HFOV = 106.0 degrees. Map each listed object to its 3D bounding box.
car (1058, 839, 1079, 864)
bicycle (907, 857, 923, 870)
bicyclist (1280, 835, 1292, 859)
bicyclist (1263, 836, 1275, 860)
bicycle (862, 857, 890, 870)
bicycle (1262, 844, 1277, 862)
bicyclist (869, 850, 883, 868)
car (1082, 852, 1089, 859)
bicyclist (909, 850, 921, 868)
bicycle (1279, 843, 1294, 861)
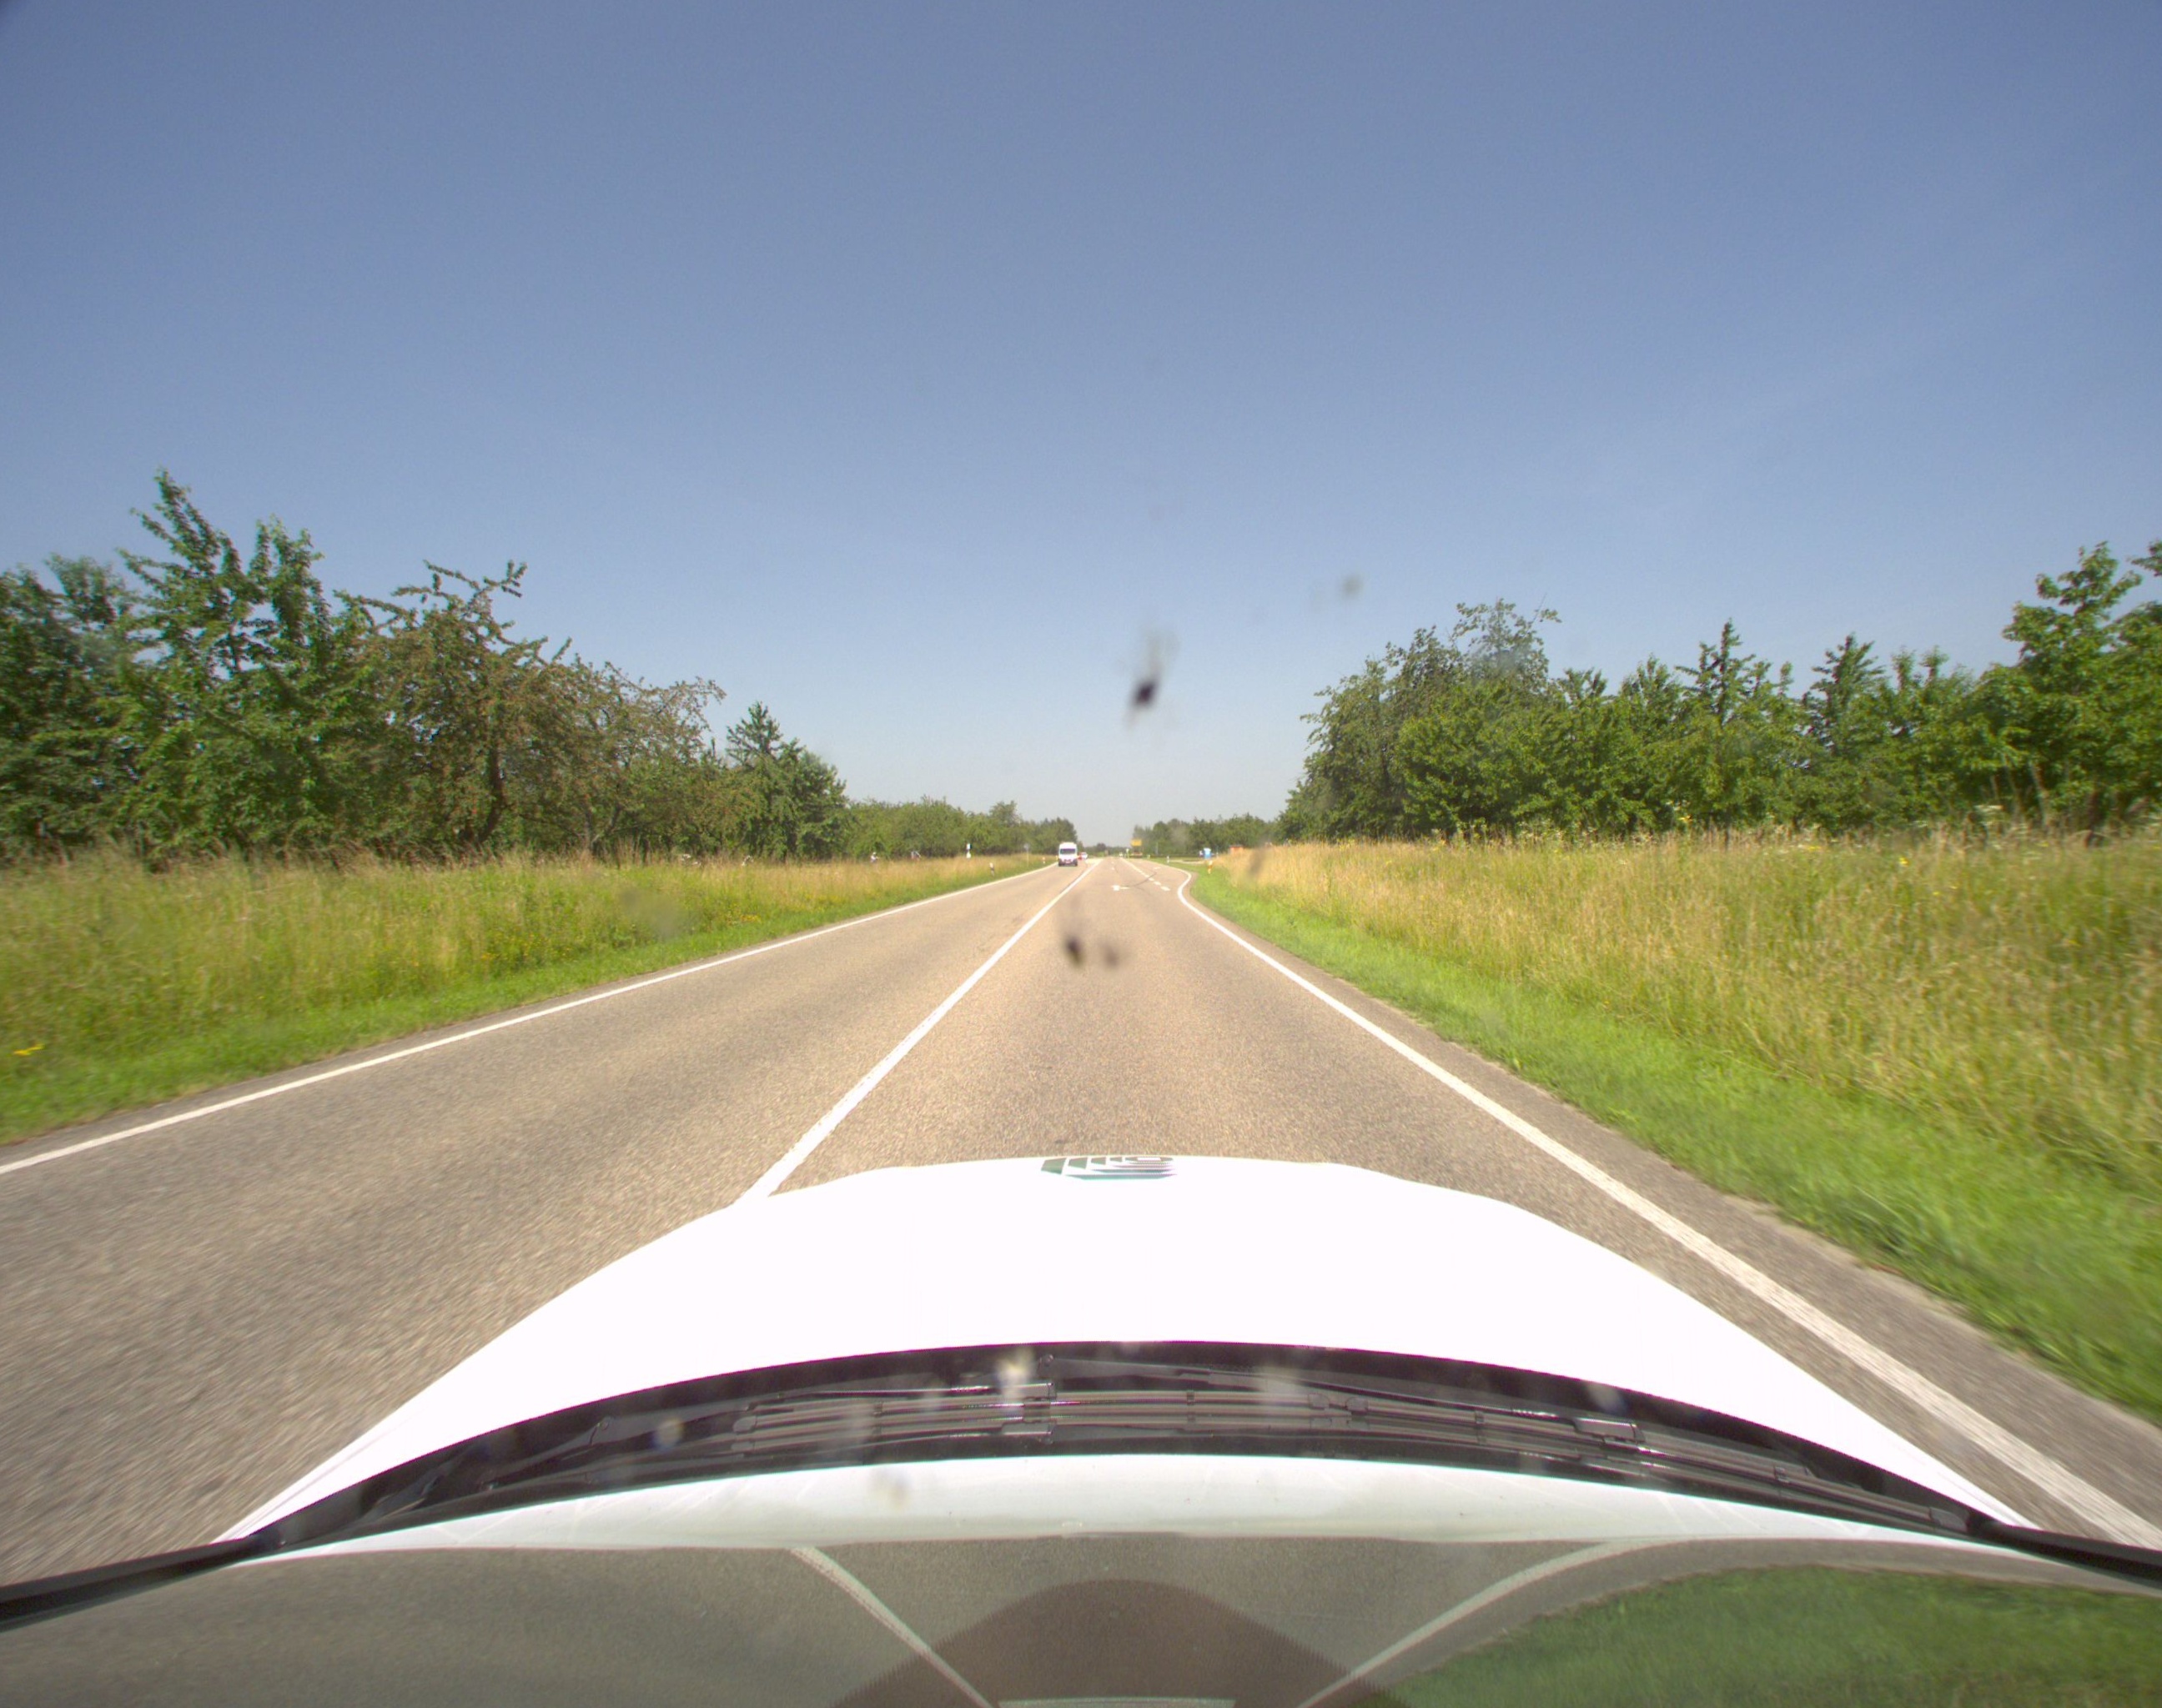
[{"bbox_3d":[-1.385,-0.250,91.077,2.153,2.669,6.143,-1,-1,1],"label":"car"},{"bbox_3d":[-12.863,0.748,63.091,0.653,0.989,1.936,0,-1,-31],"label":"bicycle"},{"bbox_3d":[16.785,-0.579,66.618,0.747,1.929,0.828,-2,0,2],"label":"bicyclist"},{"bbox_3d":[15.495,-0.494,67.014,0.747,1.866,0.869,-2,0,2],"label":"bicyclist"},{"bbox_3d":[-16.709,0.764,66.485,2.198,0.989,0.747,-1,-1,24],"label":"bicycle"},{"bbox_3d":[15.505,-0.119,66.992,0.747,1.418,2.222,-2,0,2],"label":"bicycle"},{"bbox_3d":[-16.714,0.406,66.491,0.853,1.455,0.747,-1,-1,24],"label":"bicyclist"},{"bbox_3d":[1.000,0.334,193.371,1.669,1.494,4.136,-1,0,0],"label":"car"},{"bbox_3d":[-12.861,0.378,63.094,0.645,1.414,0.854,0,-1,-31],"label":"bicyclist"},{"bbox_3d":[16.798,-0.139,66.606,0.747,1.418,2.222,-2,0,2],"label":"bicycle"}]
